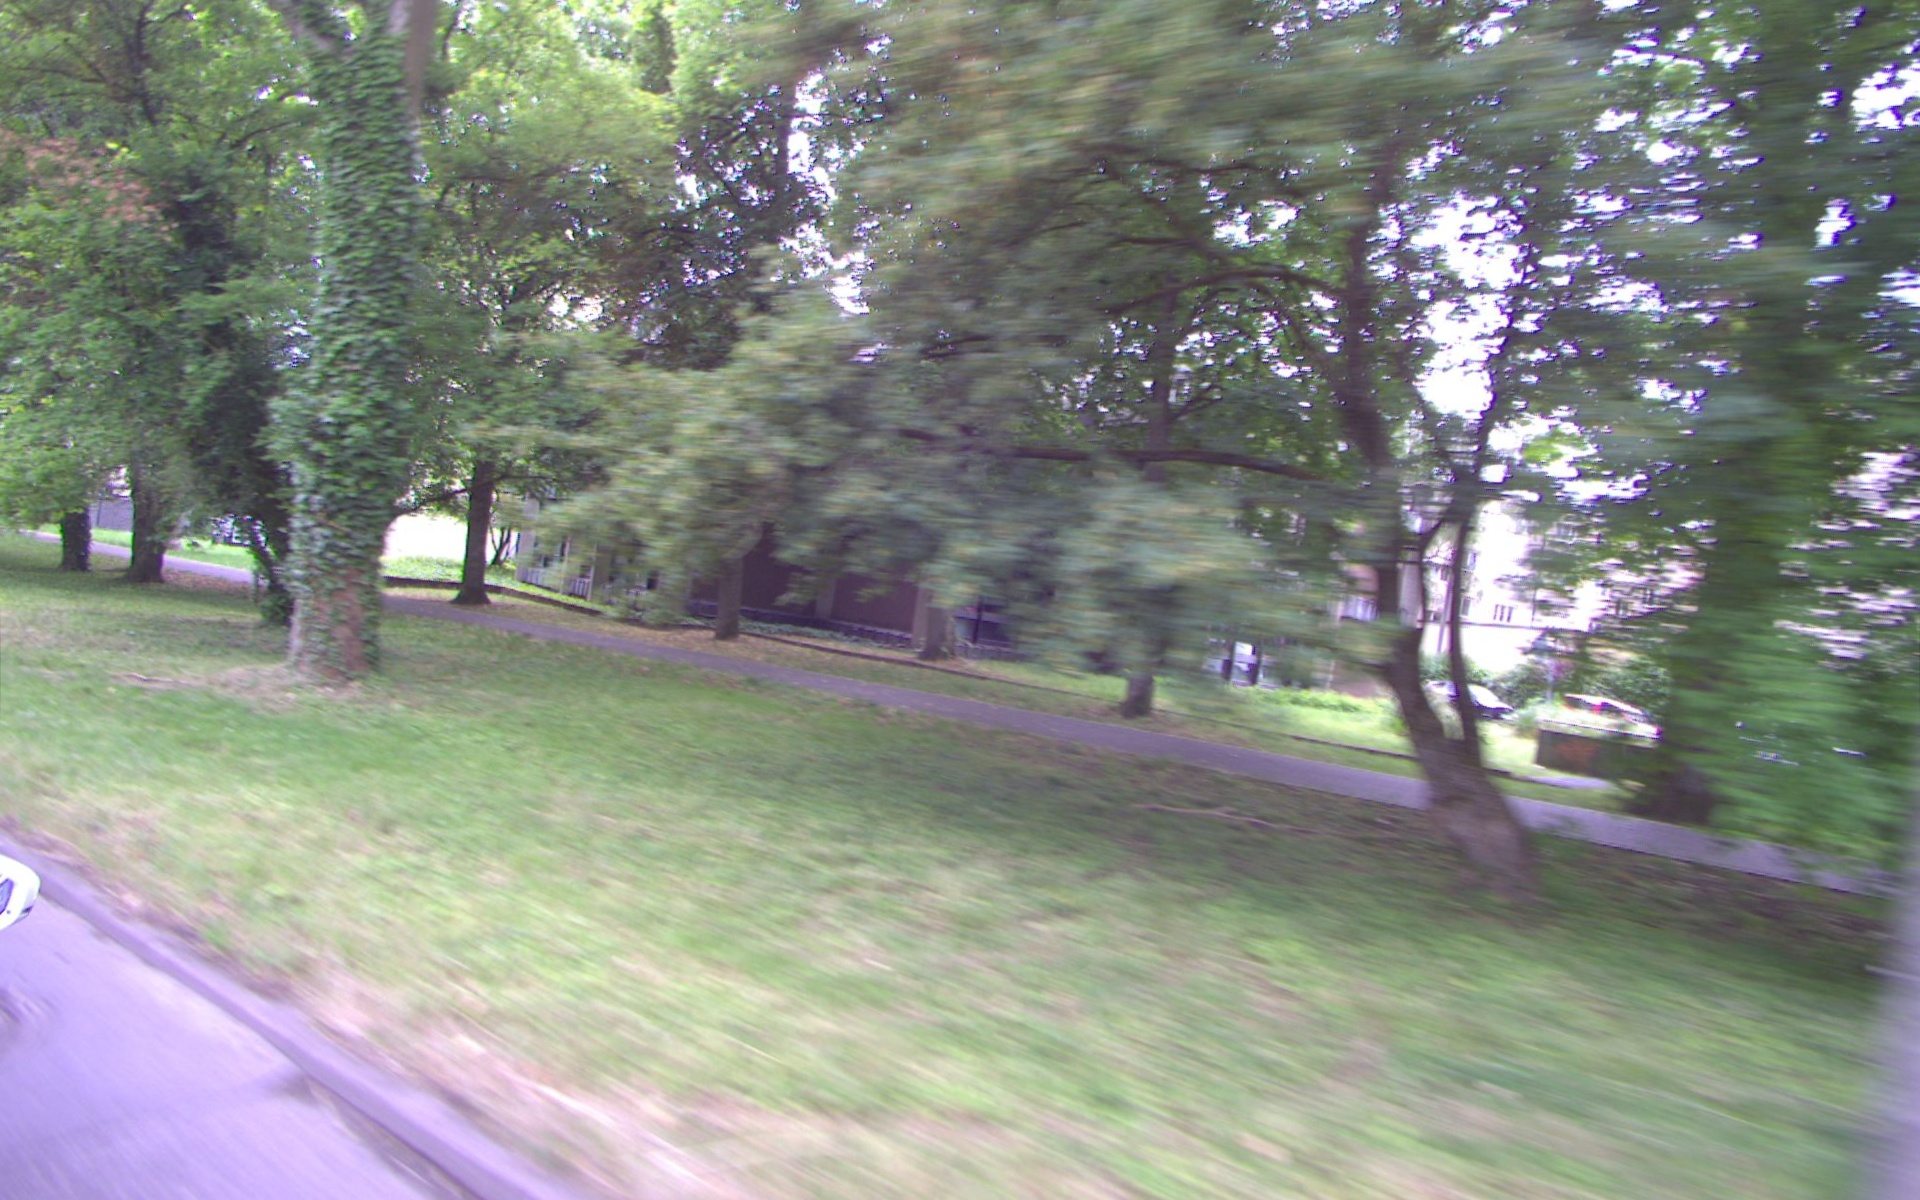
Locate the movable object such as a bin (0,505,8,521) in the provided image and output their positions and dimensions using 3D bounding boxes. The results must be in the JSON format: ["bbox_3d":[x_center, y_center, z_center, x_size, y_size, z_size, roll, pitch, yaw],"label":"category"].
[{"bbox_3d":[-54.473,-4.960,56.989,0.658,0.889,0.599,7,0,32],"label":"movable object such as a bin"}]

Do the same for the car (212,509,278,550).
[{"bbox_3d":[-41.916,-4.131,58.922,4.899,1.866,2.082,8,1,43],"label":"car"}]

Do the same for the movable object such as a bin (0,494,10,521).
[{"bbox_3d":[-55.975,-5.431,58.011,1.293,1.520,1.328,7,0,31],"label":"movable object such as a bin"}]

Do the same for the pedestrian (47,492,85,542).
[{"bbox_3d":[-33.405,-3.097,37.579,0.801,1.707,0.768,7,1,33],"label":"pedestrian"}]
